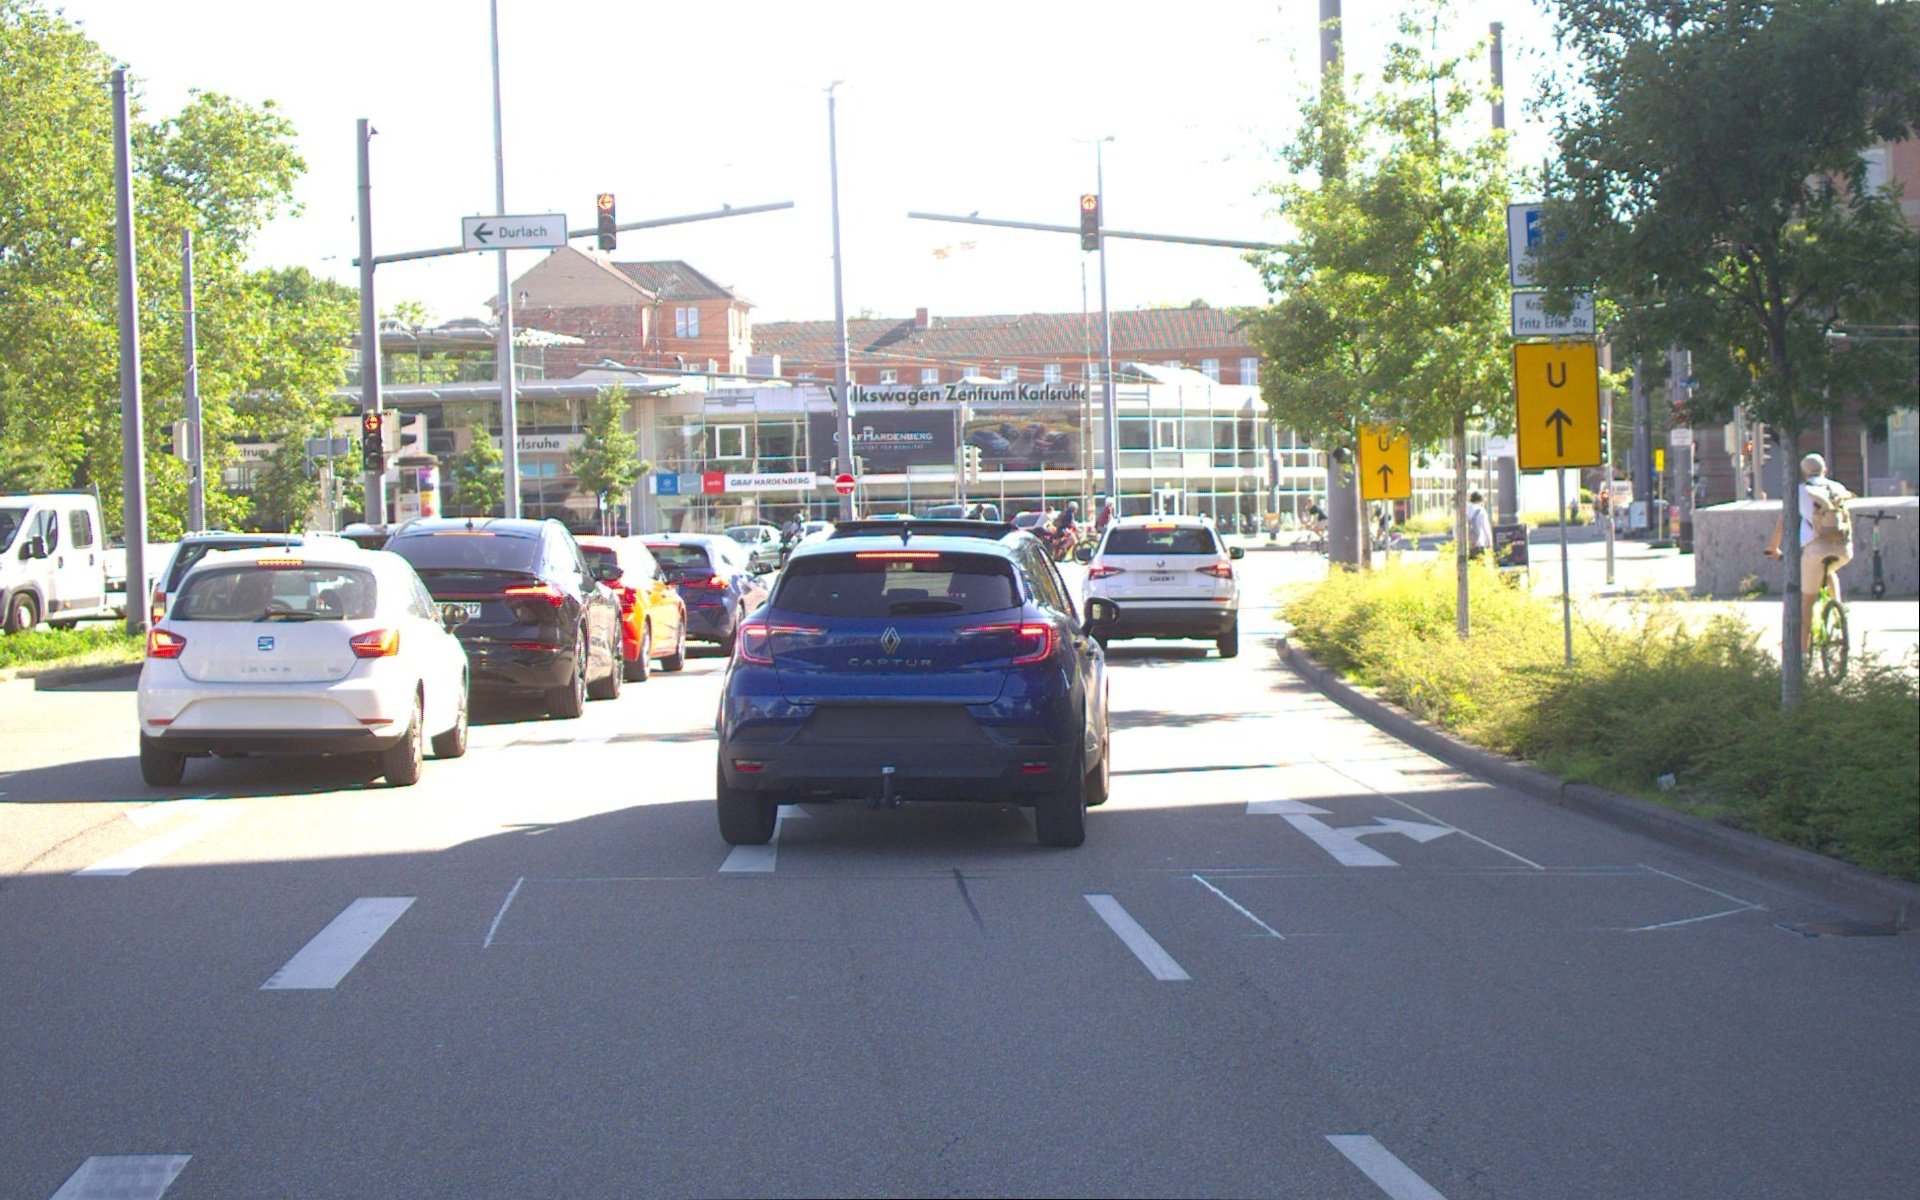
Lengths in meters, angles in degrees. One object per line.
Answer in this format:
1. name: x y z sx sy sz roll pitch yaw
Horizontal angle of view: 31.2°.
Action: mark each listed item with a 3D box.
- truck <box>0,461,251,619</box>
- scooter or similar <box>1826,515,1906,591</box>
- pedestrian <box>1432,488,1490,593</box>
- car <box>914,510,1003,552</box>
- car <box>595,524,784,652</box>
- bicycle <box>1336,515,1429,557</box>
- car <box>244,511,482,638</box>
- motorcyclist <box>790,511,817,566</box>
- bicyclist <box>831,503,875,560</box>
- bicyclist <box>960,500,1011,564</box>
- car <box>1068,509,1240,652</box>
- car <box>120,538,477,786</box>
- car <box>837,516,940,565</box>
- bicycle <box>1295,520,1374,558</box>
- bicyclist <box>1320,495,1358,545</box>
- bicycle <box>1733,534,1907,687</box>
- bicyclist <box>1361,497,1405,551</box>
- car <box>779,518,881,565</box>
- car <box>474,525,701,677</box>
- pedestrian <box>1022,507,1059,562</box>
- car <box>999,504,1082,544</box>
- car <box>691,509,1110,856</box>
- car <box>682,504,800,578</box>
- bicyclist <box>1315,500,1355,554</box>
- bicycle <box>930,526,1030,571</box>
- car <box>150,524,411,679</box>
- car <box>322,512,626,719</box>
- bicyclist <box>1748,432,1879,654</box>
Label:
1. truck: -13.944 -0.953 53.489 2.217 2.305 6.876 -1 1 22
2. scooter or similar: 12.722 -0.667 48.310 0.467 1.009 1.250 -2 4 -18
3. pedestrian: 8.387 -0.988 57.535 0.595 1.717 0.869 -1 -1 37
4. car: -0.037 -2.432 121.539 1.727 1.437 4.180 2 2 22
5. car: -3.224 -0.179 41.617 1.725 1.437 3.798 1 1 4
6. bicycle: 12.825 -1.942 104.400 2.645 1.184 0.948 -1 4 -14
7. car: -7.155 -0.340 41.551 1.725 1.437 3.909 1 1 7
8. motorcyclist: -4.686 -1.840 102.937 0.550 1.615 0.744 -1 1 18
9. bicyclist: -3.058 -1.973 98.502 1.062 1.578 0.948 -1 3 -14
10. bicyclist: 0.721 -1.926 97.267 1.183 1.770 0.948 -2 4 -21
11. car: 2.345 -0.257 40.864 1.877 1.612 3.624 0 1 6
12. car: -4.130 0.329 21.983 1.691 1.431 3.737 0 1 -2
13. car: -2.207 -1.874 107.405 1.727 1.437 4.180 -1 1 22
14. bicycle: 11.190 -1.832 102.745 2.177 1.091 0.759 -1 1 -13
15. bicyclist: 11.130 -2.352 100.901 0.962 1.444 0.969 -1 1 -2
16. bicycle: 6.967 0.065 27.932 0.746 1.161 1.871 -2 2 -6
17. bicyclist: 12.820 -2.316 104.300 1.062 1.578 0.948 -1 3 -14
18. car: -4.146 -1.901 110.506 1.727 1.437 4.180 -1 1 22
19. car: -3.759 -0.030 35.233 1.672 1.437 3.721 1 1 4
20. pedestrian: 2.399 -1.952 102.344 0.703 1.605 0.850 3 5 41
21. car: 3.006 -2.844 128.208 1.727 1.437 4.180 2 2 22
22. car: -0.201 0.364 18.021 1.877 1.612 3.797 0 1 4
23. car: -6.569 -1.801 103.610 1.996 2.006 3.996 1 4 22
24. bicyclist: 11.208 -2.188 102.746 0.985 1.598 0.759 -1 1 -13
25. bicycle: 0.573 -1.468 97.221 2.645 1.184 0.948 -2 4 -21
26. car: -6.790 -0.030 34.706 1.725 1.437 3.799 1 1 2
27. car: -4.014 0.071 29.060 1.984 1.618 4.378 0 1 0
28. bicyclist: 6.944 -0.472 28.005 0.719 1.756 0.978 -2 2 -5
